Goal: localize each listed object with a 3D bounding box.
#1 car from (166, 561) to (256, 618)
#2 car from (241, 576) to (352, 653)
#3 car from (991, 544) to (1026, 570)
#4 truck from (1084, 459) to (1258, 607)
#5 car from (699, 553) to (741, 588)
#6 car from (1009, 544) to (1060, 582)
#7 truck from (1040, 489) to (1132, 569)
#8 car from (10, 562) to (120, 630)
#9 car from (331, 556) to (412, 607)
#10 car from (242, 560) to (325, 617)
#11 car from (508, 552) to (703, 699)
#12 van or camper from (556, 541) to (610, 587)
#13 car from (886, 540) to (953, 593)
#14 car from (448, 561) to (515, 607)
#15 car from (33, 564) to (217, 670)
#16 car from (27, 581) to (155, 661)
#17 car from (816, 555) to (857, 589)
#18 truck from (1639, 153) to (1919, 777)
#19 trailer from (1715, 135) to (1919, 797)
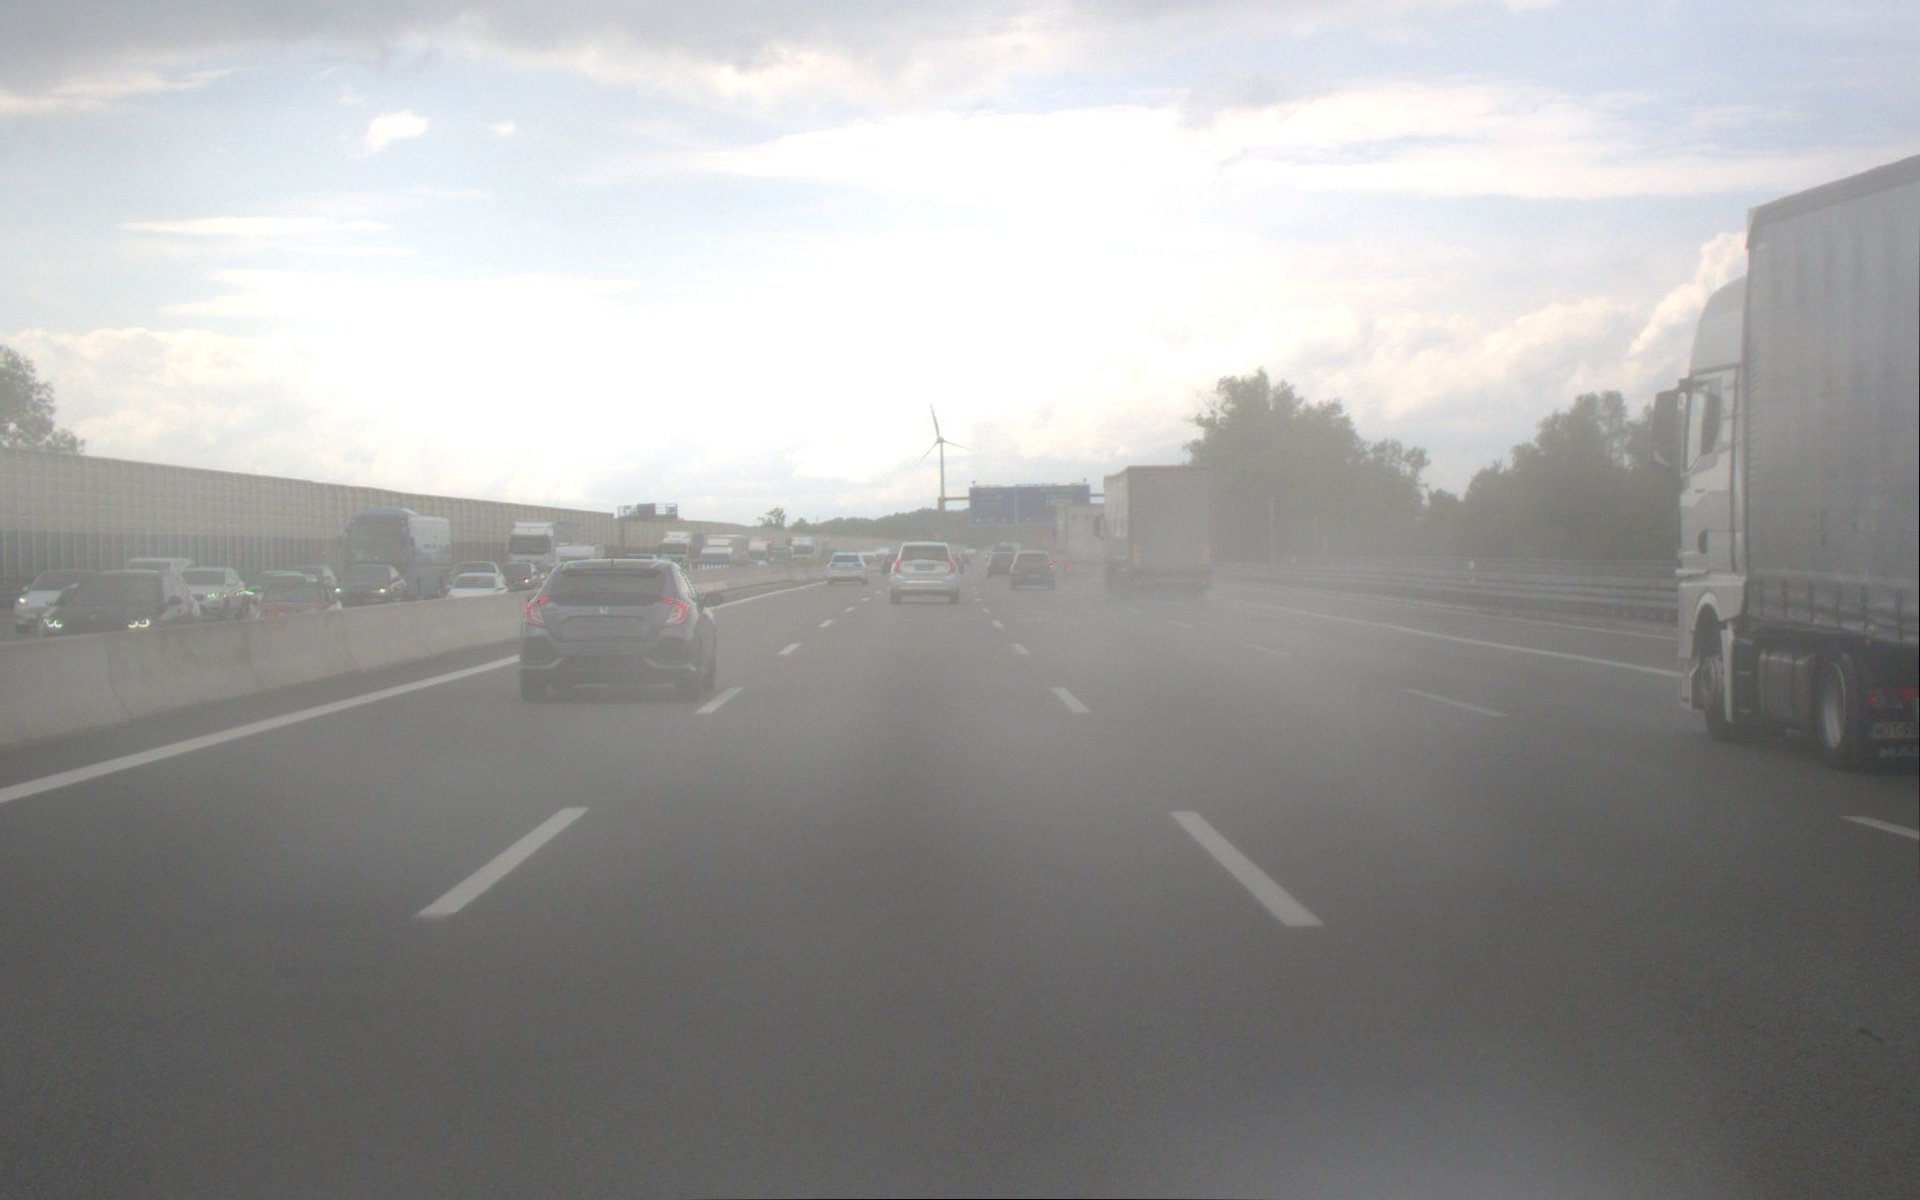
[{"bbox_3d":[-22.466,-0.329,103.205,1.747,1.605,4.178,-1,1,0],"label":"car"},{"bbox_3d":[-14.810,0.310,76.870,1.747,1.625,3.748,-1,1,0],"label":"car"},{"bbox_3d":[2.725,-2.446,195.504,1.835,1.436,4.056,0,1,-1],"label":"car"},{"bbox_3d":[6.462,-2.108,107.762,4.179,4.273,12.614,1,1,-2],"label":"truck"},{"bbox_3d":[-14.835,-1.821,212.805,2.159,2.064,6.014,-1,1,0],"label":"car"},{"bbox_3d":[2.949,-1.488,137.113,1.835,1.436,4.056,0,1,-1],"label":"car"},{"bbox_3d":[6.757,-3.869,186.897,4.243,4.162,11.990,1,1,-1],"label":"truck"},{"bbox_3d":[-22.919,-0.127,88.212,1.747,1.625,4.645,-1,1,-2],"label":"car"},{"bbox_3d":[-19.383,-0.635,113.410,1.934,1.605,4.178,-1,1,0],"label":"car"},{"bbox_3d":[-19.412,-0.339,98.772,1.621,1.574,3.619,-1,1,0],"label":"car"},{"bbox_3d":[-3.639,0.212,35.961,1.760,1.364,5.061,0,1,-3],"label":"car"},{"bbox_3d":[-22.249,-2.131,203.340,2.344,2.632,7.150,-1,1,0],"label":"van or camper"},{"bbox_3d":[-1.175,-0.976,98.109,1.772,1.436,4.056,0,1,-3],"label":"car"},{"bbox_3d":[-15.073,-0.508,108.441,1.572,1.389,3.576,-1,1,0],"label":"car"},{"bbox_3d":[-14.732,0.255,60.935,1.880,1.738,5.110,-1,1,1],"label":"car"},{"bbox_3d":[-18.958,0.443,75.144,1.747,1.625,4.166,-1,1,0],"label":"car"},{"bbox_3d":[-5.522,-1.257,153.351,1.772,1.436,3.874,0,1,-3],"label":"car"},{"bbox_3d":[7.209,-0.936,25.407,2.961,4.006,6.589,0,1,-1],"label":"truck"},{"bbox_3d":[7.313,-0.760,19.030,2.961,4.006,14.119,0,1,-1],"label":"trailer"}]
